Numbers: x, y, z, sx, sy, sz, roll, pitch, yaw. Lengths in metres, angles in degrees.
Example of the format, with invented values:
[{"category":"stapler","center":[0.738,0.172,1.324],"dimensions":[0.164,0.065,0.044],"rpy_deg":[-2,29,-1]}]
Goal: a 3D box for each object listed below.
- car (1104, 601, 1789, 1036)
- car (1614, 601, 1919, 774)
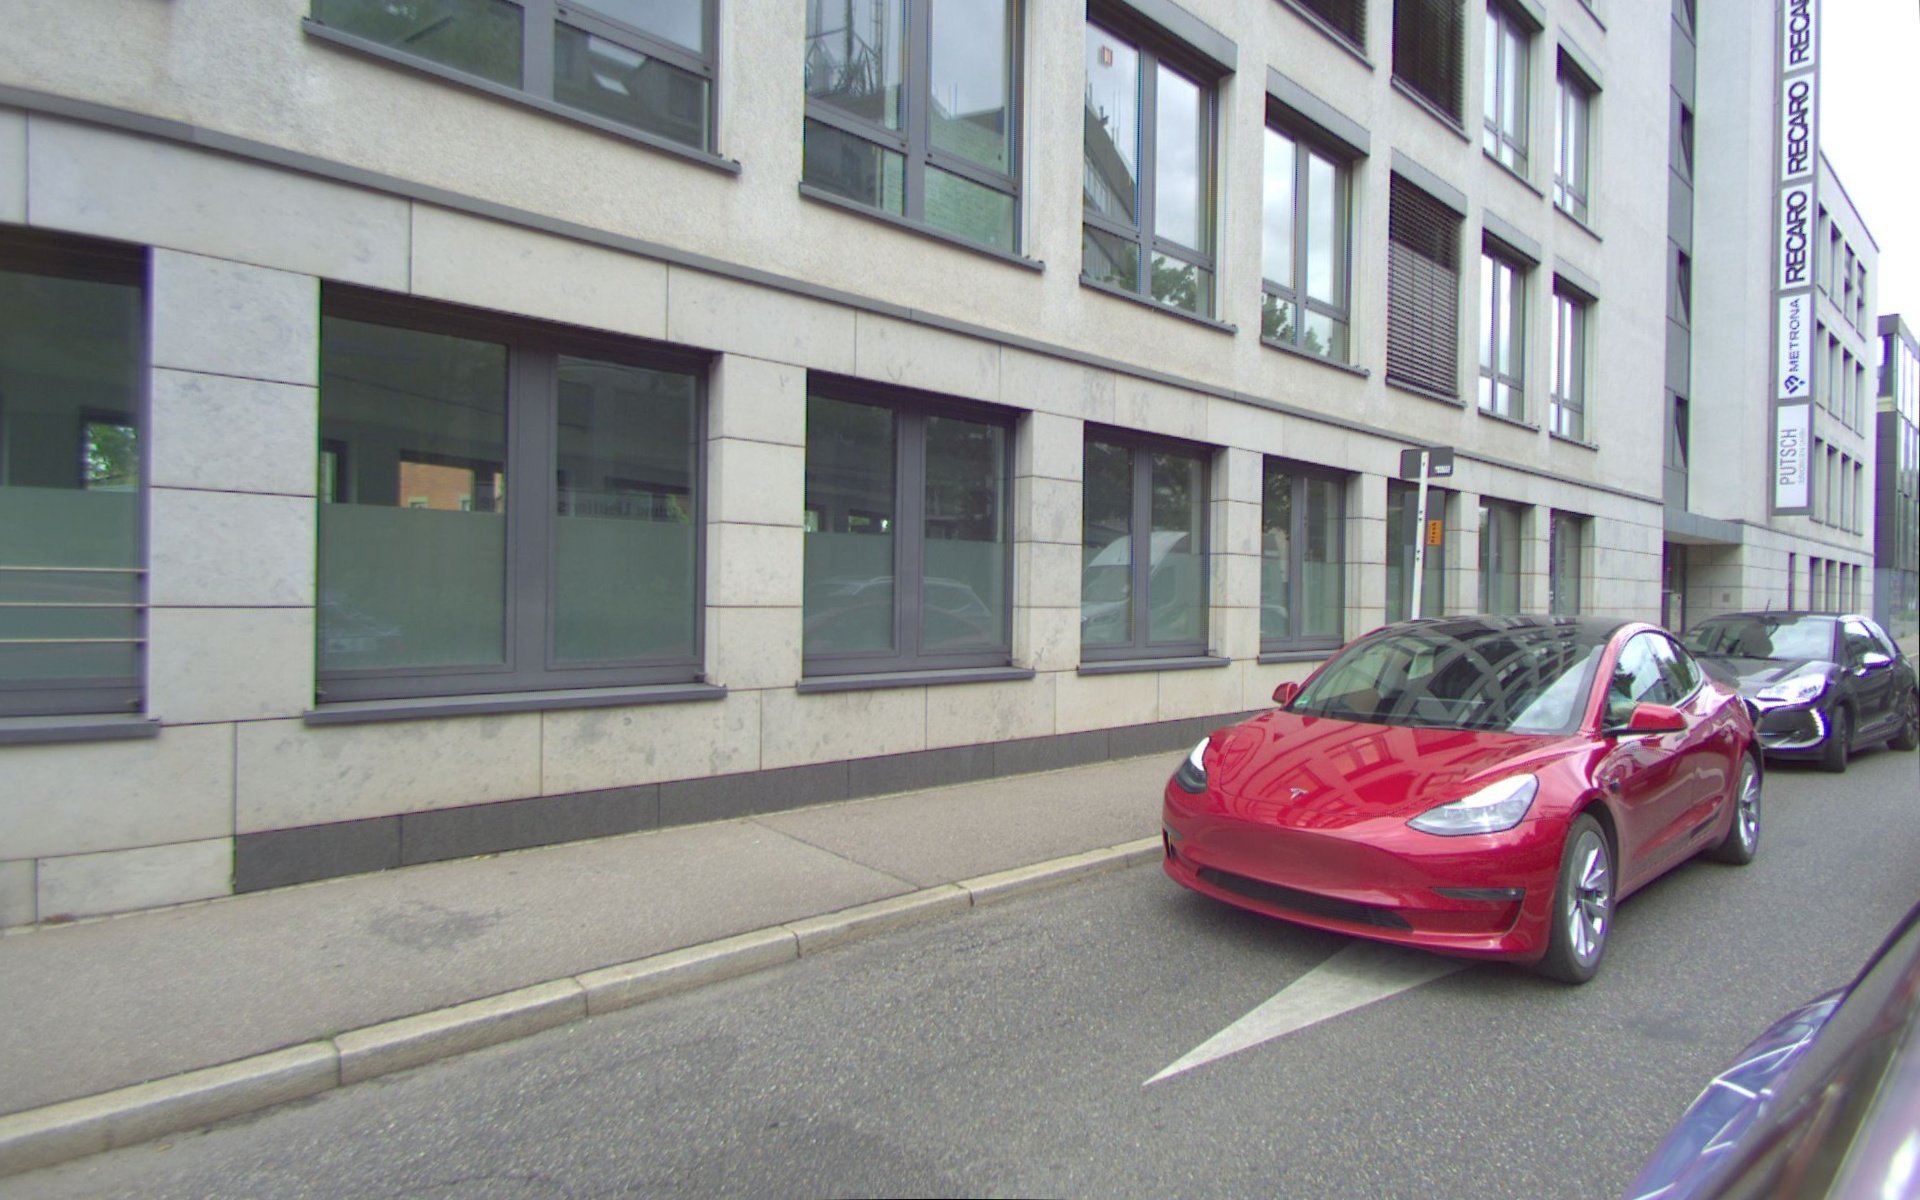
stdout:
[{"category":"car","center":[2.913,0.733,5.532],"dimensions":[4.366,1.436,1.875],"rpy_deg":[0,-1,-42]},{"category":"car","center":[8.657,0.757,10.522],"dimensions":[3.984,1.479,1.706],"rpy_deg":[0,-1,-35]}]
